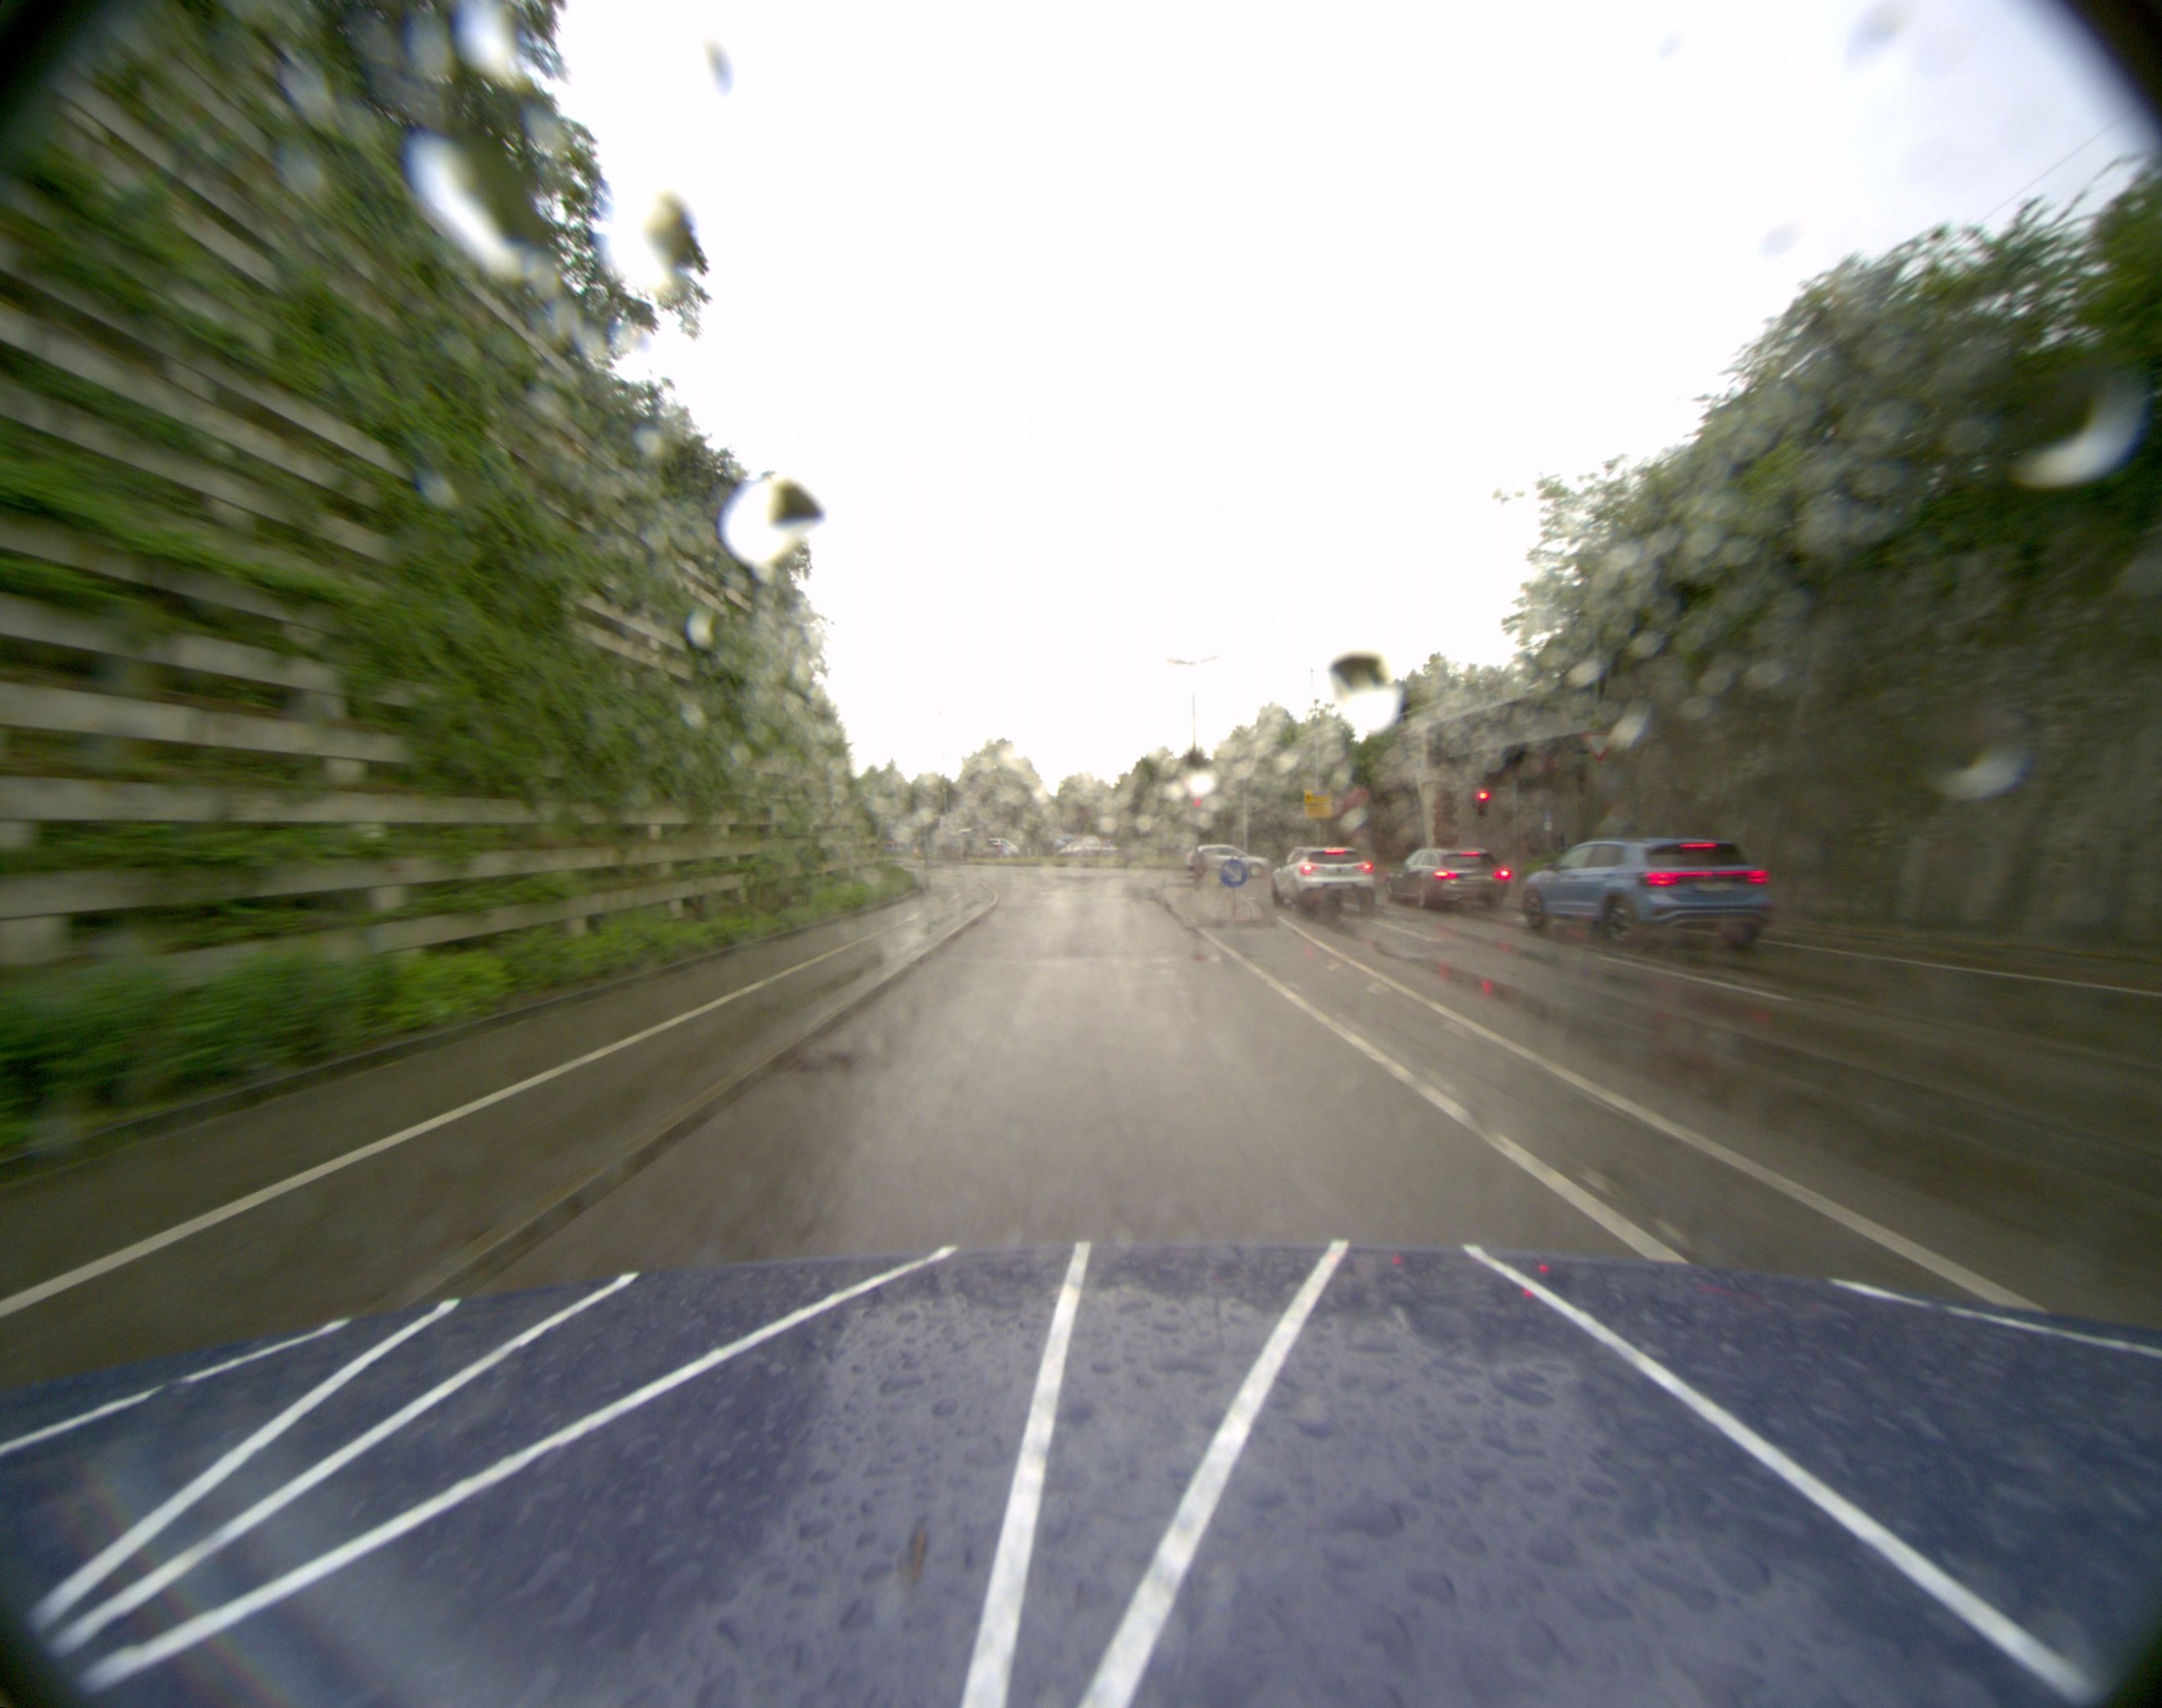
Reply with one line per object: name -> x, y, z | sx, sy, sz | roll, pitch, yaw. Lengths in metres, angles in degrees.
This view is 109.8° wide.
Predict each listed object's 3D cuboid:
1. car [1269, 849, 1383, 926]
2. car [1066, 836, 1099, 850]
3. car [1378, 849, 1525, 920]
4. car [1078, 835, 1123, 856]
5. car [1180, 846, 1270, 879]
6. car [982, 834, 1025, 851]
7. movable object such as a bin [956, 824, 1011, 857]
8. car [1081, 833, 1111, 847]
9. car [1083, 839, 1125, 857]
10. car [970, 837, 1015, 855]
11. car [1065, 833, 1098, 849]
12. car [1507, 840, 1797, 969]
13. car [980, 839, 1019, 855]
car -> 5.917, 0.727, 18.842 | 1.872, 1.592, 4.001 | -2, 1, 6
car -> 0.196, -1.398, 92.596 | 3.880, 1.619, 1.693 | 1, 2, -4
car -> 9.226, 0.660, 19.410 | 1.997, 1.494, 4.731 | 1, 1, 8
car -> 1.843, -0.808, 73.214 | 4.232, 1.969, 1.904 | 1, 2, 0
car -> 6.974, 0.381, 36.745 | 4.146, 1.499, 1.684 | 1, 1, 13
car -> -8.423, -1.235, 82.834 | 4.386, 1.756, 1.921 | 1, 2, 1
movable object such as a bin -> -8.392, -1.080, 64.788 | 2.315, 2.670, 5.688 | 0, 0, -35
car -> 1.756, -1.678, 89.943 | 3.478, 1.531, 1.447 | 1, 2, -2
car -> 2.149, -0.540, 70.709 | 3.822, 1.559, 1.774 | 1, 2, 0
car -> -8.193, -0.723, 70.393 | 3.997, 1.565, 1.670 | 1, 2, 0
car -> 0.047, -1.653, 94.972 | 3.961, 1.869, 1.693 | 1, 2, -4
car -> 8.729, 0.643, 12.144 | 1.819, 1.648, 4.051 | -2, 1, 5
car -> -8.054, -0.689, 75.369 | 3.707, 1.565, 1.592 | 1, 2, 1
